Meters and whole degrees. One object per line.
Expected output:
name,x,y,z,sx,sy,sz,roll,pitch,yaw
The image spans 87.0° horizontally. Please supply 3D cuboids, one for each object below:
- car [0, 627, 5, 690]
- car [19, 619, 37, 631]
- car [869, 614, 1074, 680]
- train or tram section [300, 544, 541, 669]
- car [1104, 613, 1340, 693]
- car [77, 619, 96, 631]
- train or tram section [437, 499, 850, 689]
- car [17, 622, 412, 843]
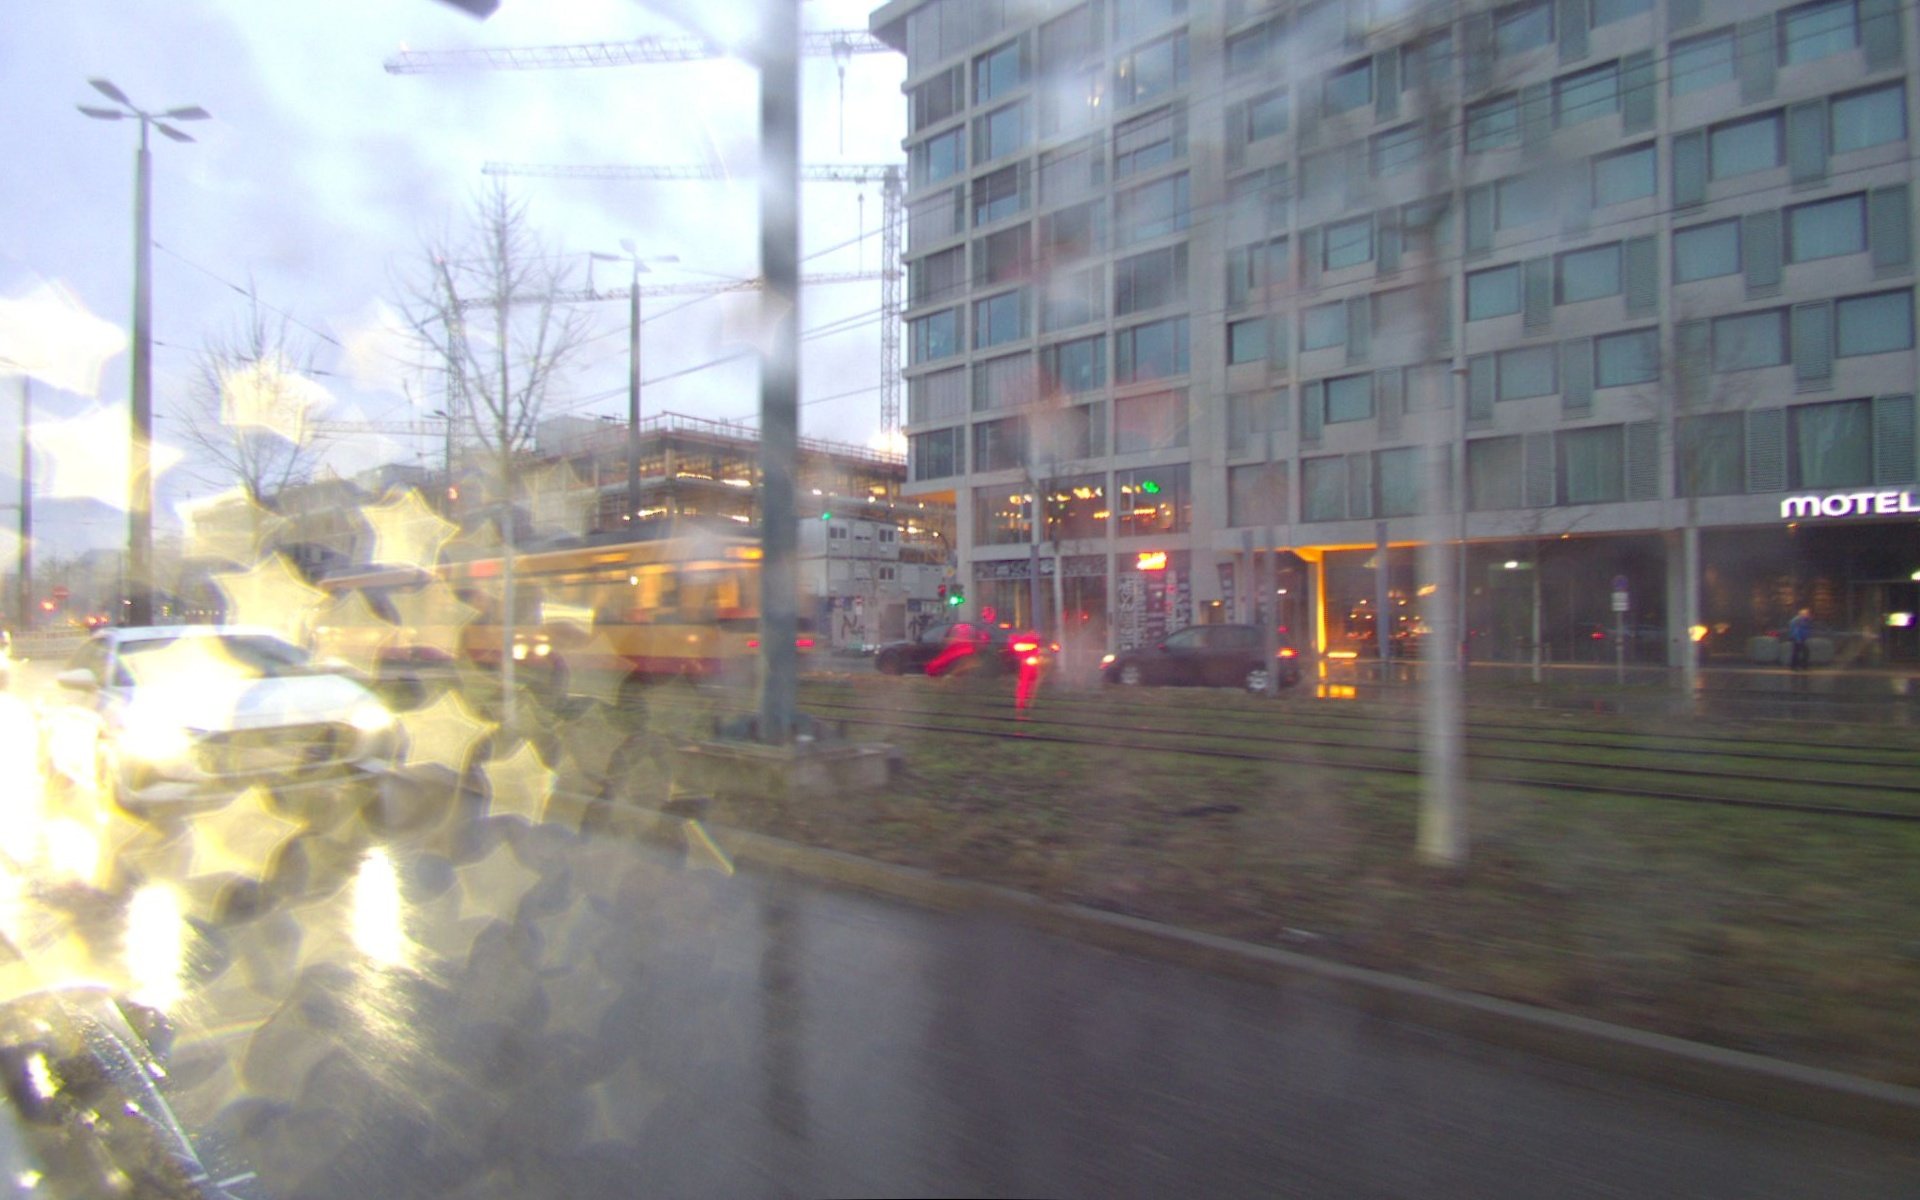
car,-23.212,1.339,23.216,3.983,1.381,1.743,-1,0,45
car,-167.166,4.490,181.515,3.998,2.029,1.972,-2,-2,41
car,0.185,1.111,24.989,5.032,1.479,1.972,-2,-2,42
train or tram section,-18.839,0.361,34.483,14.321,3.513,2.924,-2,-2,44
car,5.394,1.059,20.902,4.425,1.508,1.983,-1,-2,26
car,-143.911,4.105,166.741,3.999,1.837,1.972,-2,-2,42
train or tram section,-8.460,0.056,24.605,14.265,3.513,2.925,-2,-2,43
car,-6.719,0.922,8.902,4.611,1.416,1.827,-1,0,41
